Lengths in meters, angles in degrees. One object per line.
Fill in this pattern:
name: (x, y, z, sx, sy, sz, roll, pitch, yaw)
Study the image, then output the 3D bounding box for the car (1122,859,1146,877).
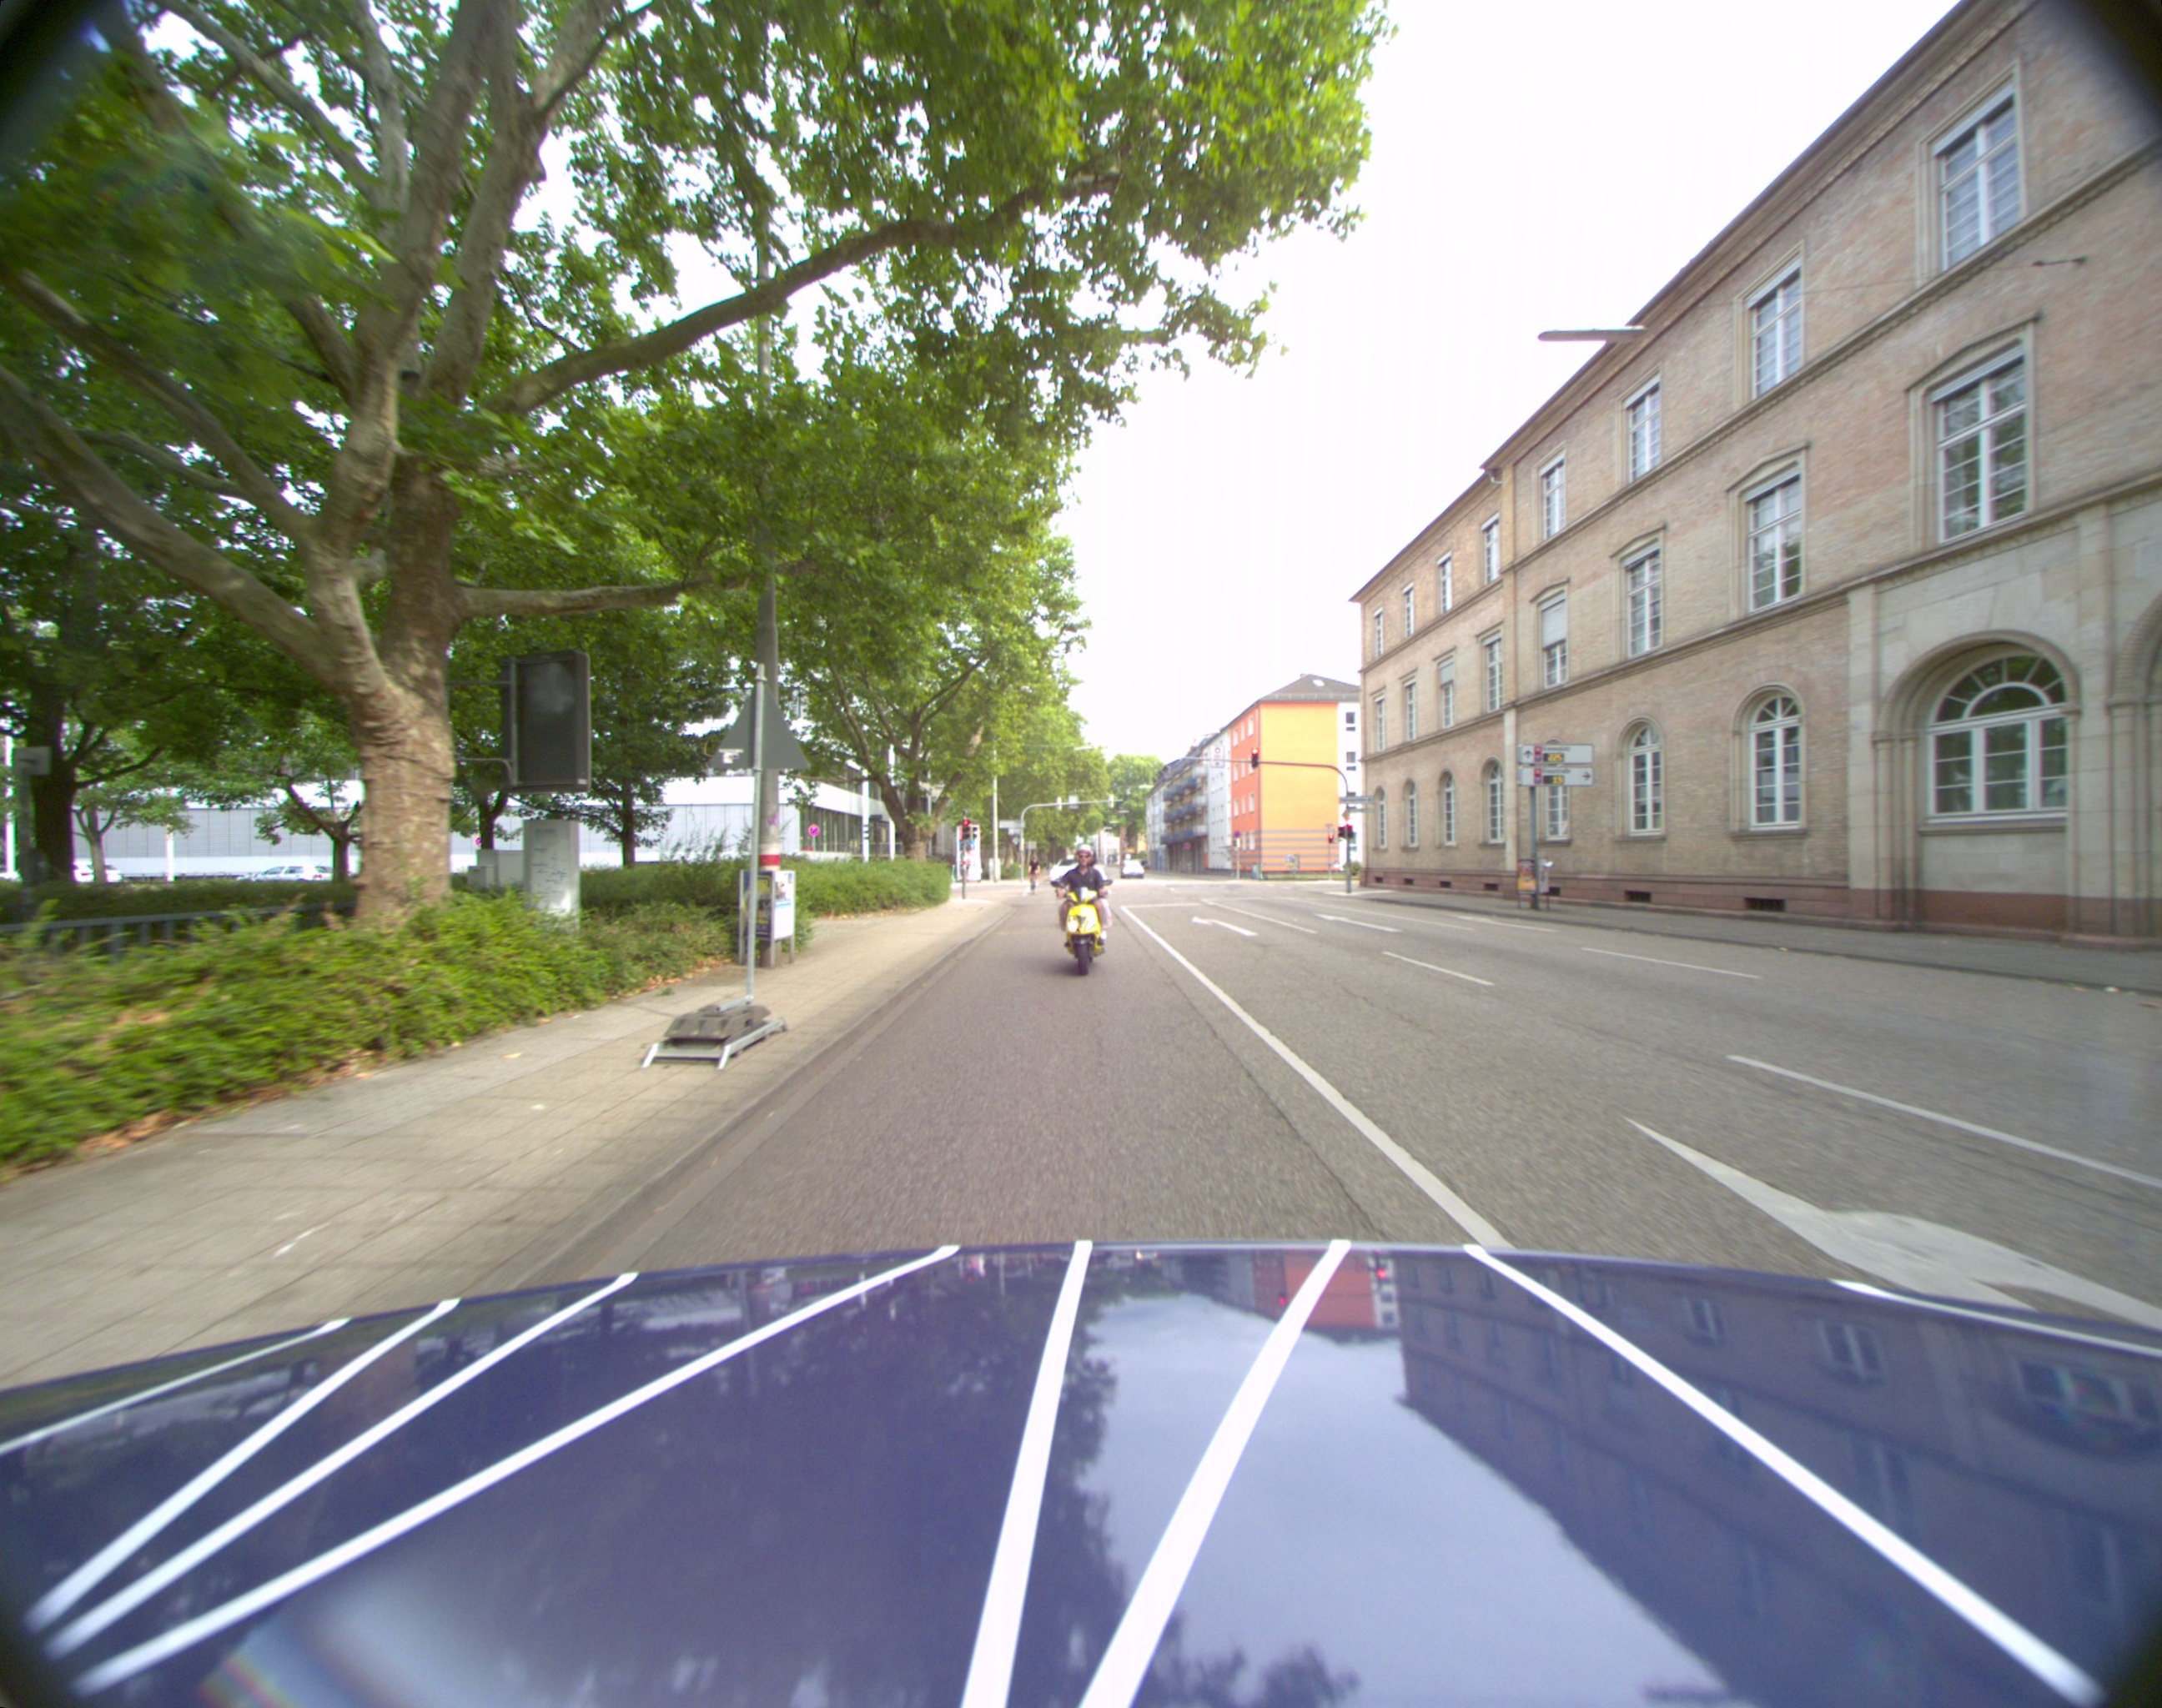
car: (4.334, 1.118, 62.585, 1.673, 1.430, 3.820, -1, 0, -1)

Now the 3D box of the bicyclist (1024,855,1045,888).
bicyclist: (-2.054, 0.763, 33.698, 0.784, 1.438, 0.914, -2, 0, 0)

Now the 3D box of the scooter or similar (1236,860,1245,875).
scooter or similar: (11.971, 0.986, 57.159, 0.369, 1.117, 1.354, -2, 0, 0)

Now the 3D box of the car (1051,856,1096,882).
car: (-0.458, 0.947, 50.541, 1.997, 1.543, 4.525, -2, 0, 12)

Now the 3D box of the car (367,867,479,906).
car: (-35.299, 1.711, 40.876, 4.000, 1.849, 1.998, -2, 0, -9)

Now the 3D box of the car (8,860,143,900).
car: (-52.015, 1.303, 39.372, 3.879, 1.850, 1.952, -2, 0, -9)

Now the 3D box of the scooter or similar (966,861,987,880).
scooter or similar: (-6.841, 1.068, 49.892, 1.309, 1.202, 0.344, 1, 0, 4)

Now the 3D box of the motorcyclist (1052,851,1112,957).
motorcyclist: (0.023, 0.672, 10.584, 0.781, 1.419, 0.764, -1, 0, 2)

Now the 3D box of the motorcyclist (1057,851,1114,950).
motorcyclist: (0.075, 0.668, 11.271, 0.781, 1.419, 0.689, -1, 0, 2)

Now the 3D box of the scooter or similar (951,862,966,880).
scooter or similar: (-8.048, 1.132, 49.840, 0.473, 1.130, 1.307, 1, 0, -34)

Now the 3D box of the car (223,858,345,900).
car: (-41.895, 1.288, 40.041, 4.000, 2.002, 1.998, -2, 0, -9)

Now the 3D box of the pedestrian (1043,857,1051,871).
pedestrian: (-5.010, 1.469, 112.995, 1.003, 2.002, 0.997, -2, 0, 1)

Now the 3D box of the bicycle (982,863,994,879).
bicycle: (-7.138, 1.277, 58.494, 0.700, 1.162, 1.725, -2, 0, 0)

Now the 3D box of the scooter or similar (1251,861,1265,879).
scooter or similar: (11.834, 1.063, 50.747, 0.330, 1.172, 1.341, -2, 0, -14)

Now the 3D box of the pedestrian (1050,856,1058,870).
pedestrian: (-3.985, 1.379, 112.969, 1.003, 2.002, 0.997, -2, 0, 1)

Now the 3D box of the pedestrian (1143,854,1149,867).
pedestrian: (10.695, 1.060, 124.828, 0.842, 2.002, 0.875, -2, 0, 4)

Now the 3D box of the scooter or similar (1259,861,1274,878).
scooter or similar: (12.426, 1.030, 50.829, 0.330, 1.151, 1.352, -2, 0, -14)

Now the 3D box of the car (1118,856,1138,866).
car: (9.815, 1.528, 159.501, 3.997, 2.002, 2.000, -2, 0, -1)

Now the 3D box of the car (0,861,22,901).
car: (-57.274, 1.457, 38.433, 4.000, 2.002, 1.998, -2, 0, -9)

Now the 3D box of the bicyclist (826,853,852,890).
bicyclist: (-11.110, 0.789, 34.897, 0.831, 1.668, 0.916, -1, 1, 4)

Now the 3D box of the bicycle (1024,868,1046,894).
bicycle: (-2.023, 1.182, 33.602, 0.771, 1.009, 2.407, -3, 0, 0)

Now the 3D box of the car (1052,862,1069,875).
car: (-2.702, 1.891, 100.239, 1.998, 1.532, 4.272, -2, 0, 1)

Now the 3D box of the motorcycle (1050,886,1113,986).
motorcycle: (0.038, 1.091, 10.682, 0.781, 1.171, 1.993, -1, 0, 2)
